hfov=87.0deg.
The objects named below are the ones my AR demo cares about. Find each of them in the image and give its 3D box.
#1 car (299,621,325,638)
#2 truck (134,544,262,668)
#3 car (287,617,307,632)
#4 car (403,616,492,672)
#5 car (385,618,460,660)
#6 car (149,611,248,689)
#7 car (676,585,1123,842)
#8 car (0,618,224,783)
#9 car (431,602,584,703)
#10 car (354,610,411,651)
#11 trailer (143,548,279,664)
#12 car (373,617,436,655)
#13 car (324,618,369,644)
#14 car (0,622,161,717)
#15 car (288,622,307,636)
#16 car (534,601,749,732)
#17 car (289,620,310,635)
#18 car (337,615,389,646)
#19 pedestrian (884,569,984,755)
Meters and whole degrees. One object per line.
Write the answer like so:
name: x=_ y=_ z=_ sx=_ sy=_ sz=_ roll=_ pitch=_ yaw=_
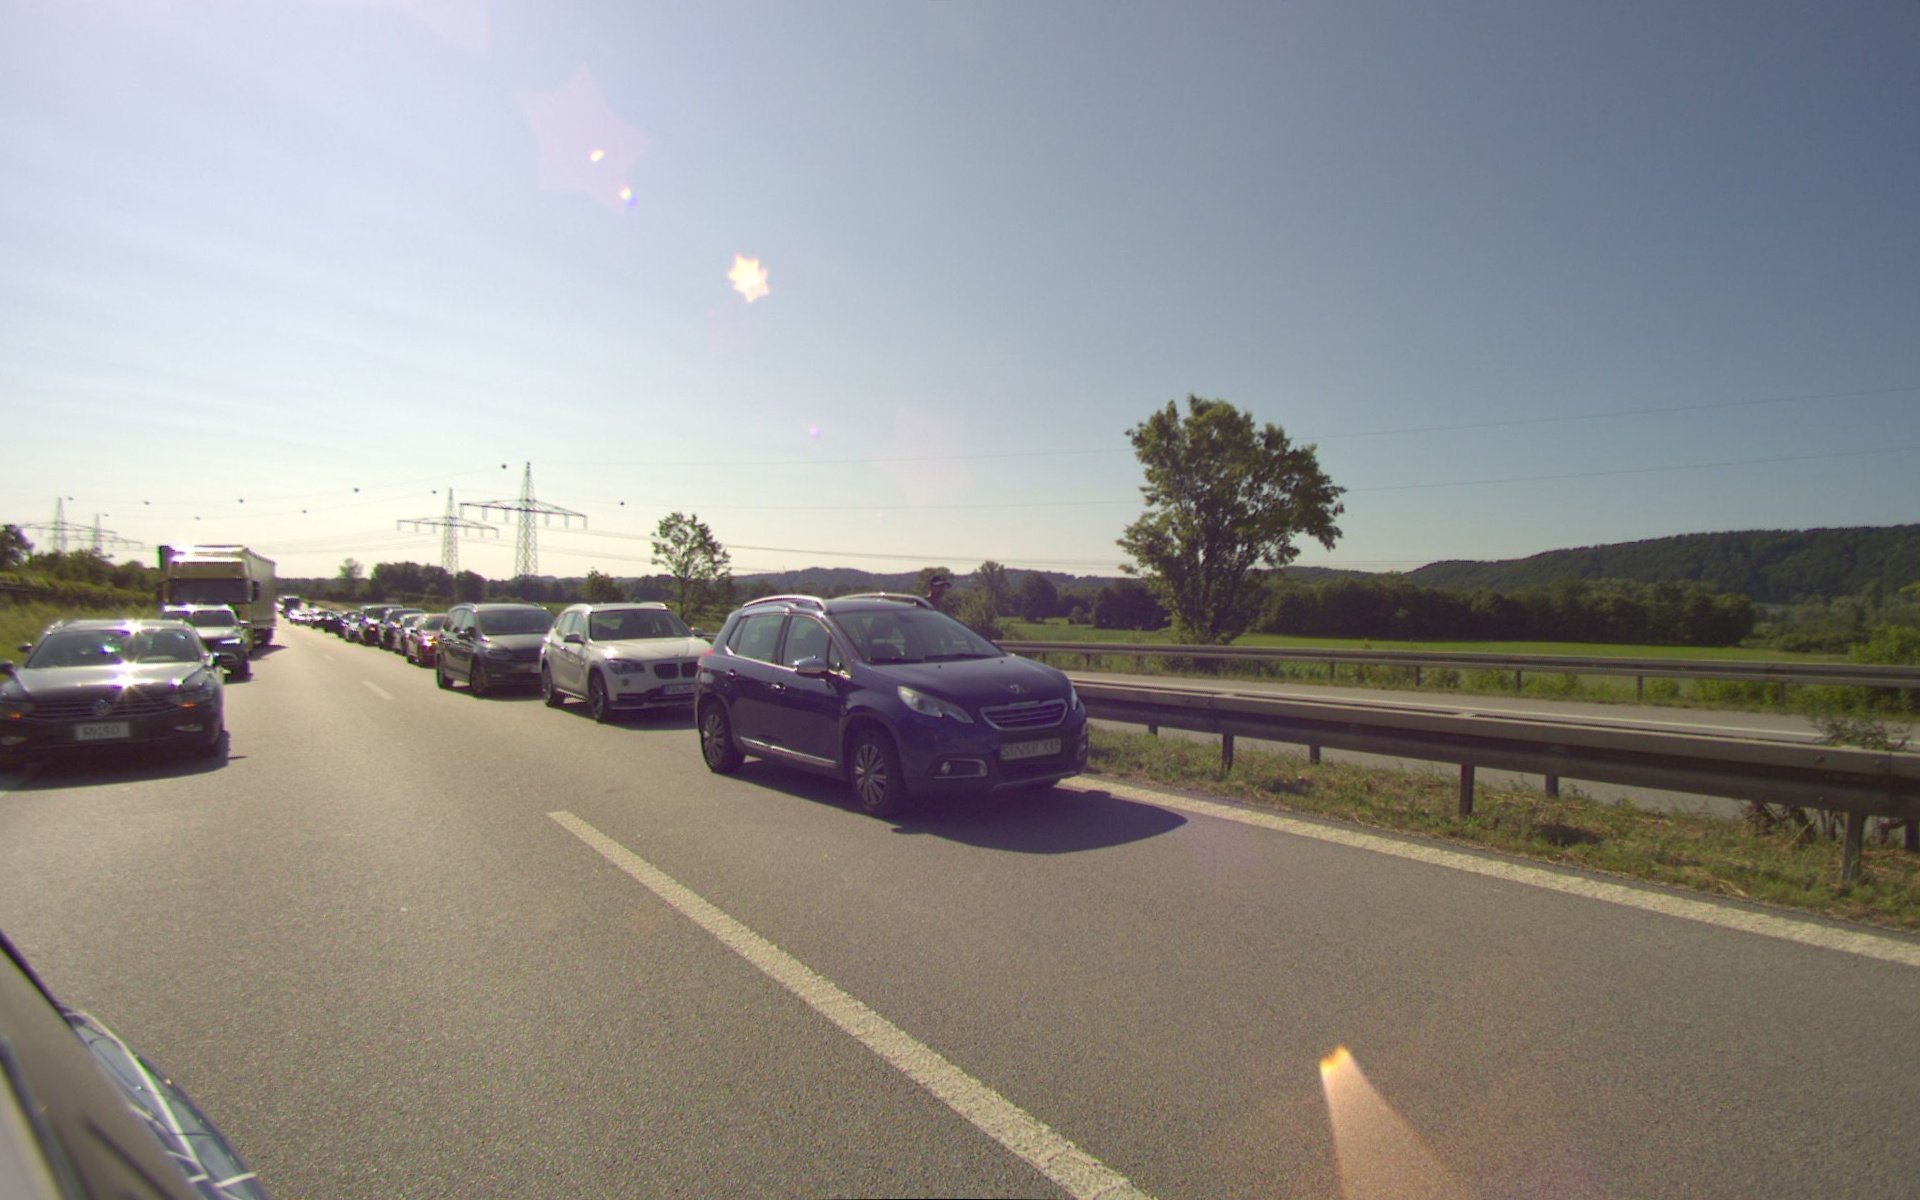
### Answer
car: x=-59.174 y=2.701 z=92.399 sx=1.791 sy=1.470 sz=4.127 roll=-1 pitch=0 yaw=-35
truck: x=-28.213 y=0.198 z=37.793 sx=3.280 sy=4.144 sz=6.989 roll=-1 pitch=0 yaw=-33
car: x=-79.547 y=2.937 z=121.412 sx=1.784 sy=1.807 sz=3.782 roll=1 pitch=-1 yaw=-35
car: x=-14.692 y=1.214 z=28.909 sx=1.790 sy=1.470 sz=4.128 roll=1 pitch=-1 yaw=-34
car: x=-19.332 y=1.370 z=36.311 sx=1.865 sy=1.409 sz=4.010 roll=1 pitch=-1 yaw=-36
car: x=-18.109 y=1.125 z=24.212 sx=1.689 sy=1.636 sz=4.336 roll=-1 pitch=0 yaw=-35
car: x=-0.724 y=0.720 z=8.276 sx=1.666 sy=1.546 sz=3.956 roll=-2 pitch=0 yaw=-38
car: x=-9.223 y=0.940 z=11.135 sx=1.689 sy=1.424 sz=4.336 roll=-1 pitch=0 yaw=-35
car: x=-8.494 y=0.895 z=18.783 sx=1.791 sy=1.628 sz=4.127 roll=-1 pitch=0 yaw=-36
car: x=-26.819 y=1.393 z=46.934 sx=1.872 sy=1.801 sz=4.210 roll=1 pitch=-2 yaw=-36
trailer: x=-31.391 y=0.243 z=43.033 sx=3.333 sy=4.144 sz=13.993 roll=-1 pitch=0 yaw=-31
car: x=-22.745 y=1.442 z=41.375 sx=1.864 sy=1.466 sz=4.010 roll=1 pitch=-1 yaw=-35
car: x=-36.558 y=1.823 z=60.256 sx=1.967 sy=1.542 sz=4.010 roll=1 pitch=-1 yaw=-35
car: x=-15.550 y=1.141 z=18.088 sx=1.689 sy=1.436 sz=4.336 roll=-1 pitch=0 yaw=-35
car: x=-74.362 y=3.241 z=113.599 sx=1.790 sy=1.470 sz=4.128 roll=1 pitch=-1 yaw=-34
car: x=-4.703 y=0.838 z=14.511 sx=1.803 sy=1.586 sz=4.174 roll=0 pitch=-1 yaw=-34
car: x=-71.126 y=2.962 z=108.961 sx=1.790 sy=1.470 sz=4.128 roll=-1 pitch=0 yaw=-34
car: x=-31.116 y=1.579 z=52.699 sx=1.967 sy=1.542 sz=4.010 roll=1 pitch=-1 yaw=-35
pedestrian: x=-0.270 y=0.596 z=10.097 sx=0.661 sy=1.763 sz=0.816 roll=1 pitch=-2 yaw=-35
